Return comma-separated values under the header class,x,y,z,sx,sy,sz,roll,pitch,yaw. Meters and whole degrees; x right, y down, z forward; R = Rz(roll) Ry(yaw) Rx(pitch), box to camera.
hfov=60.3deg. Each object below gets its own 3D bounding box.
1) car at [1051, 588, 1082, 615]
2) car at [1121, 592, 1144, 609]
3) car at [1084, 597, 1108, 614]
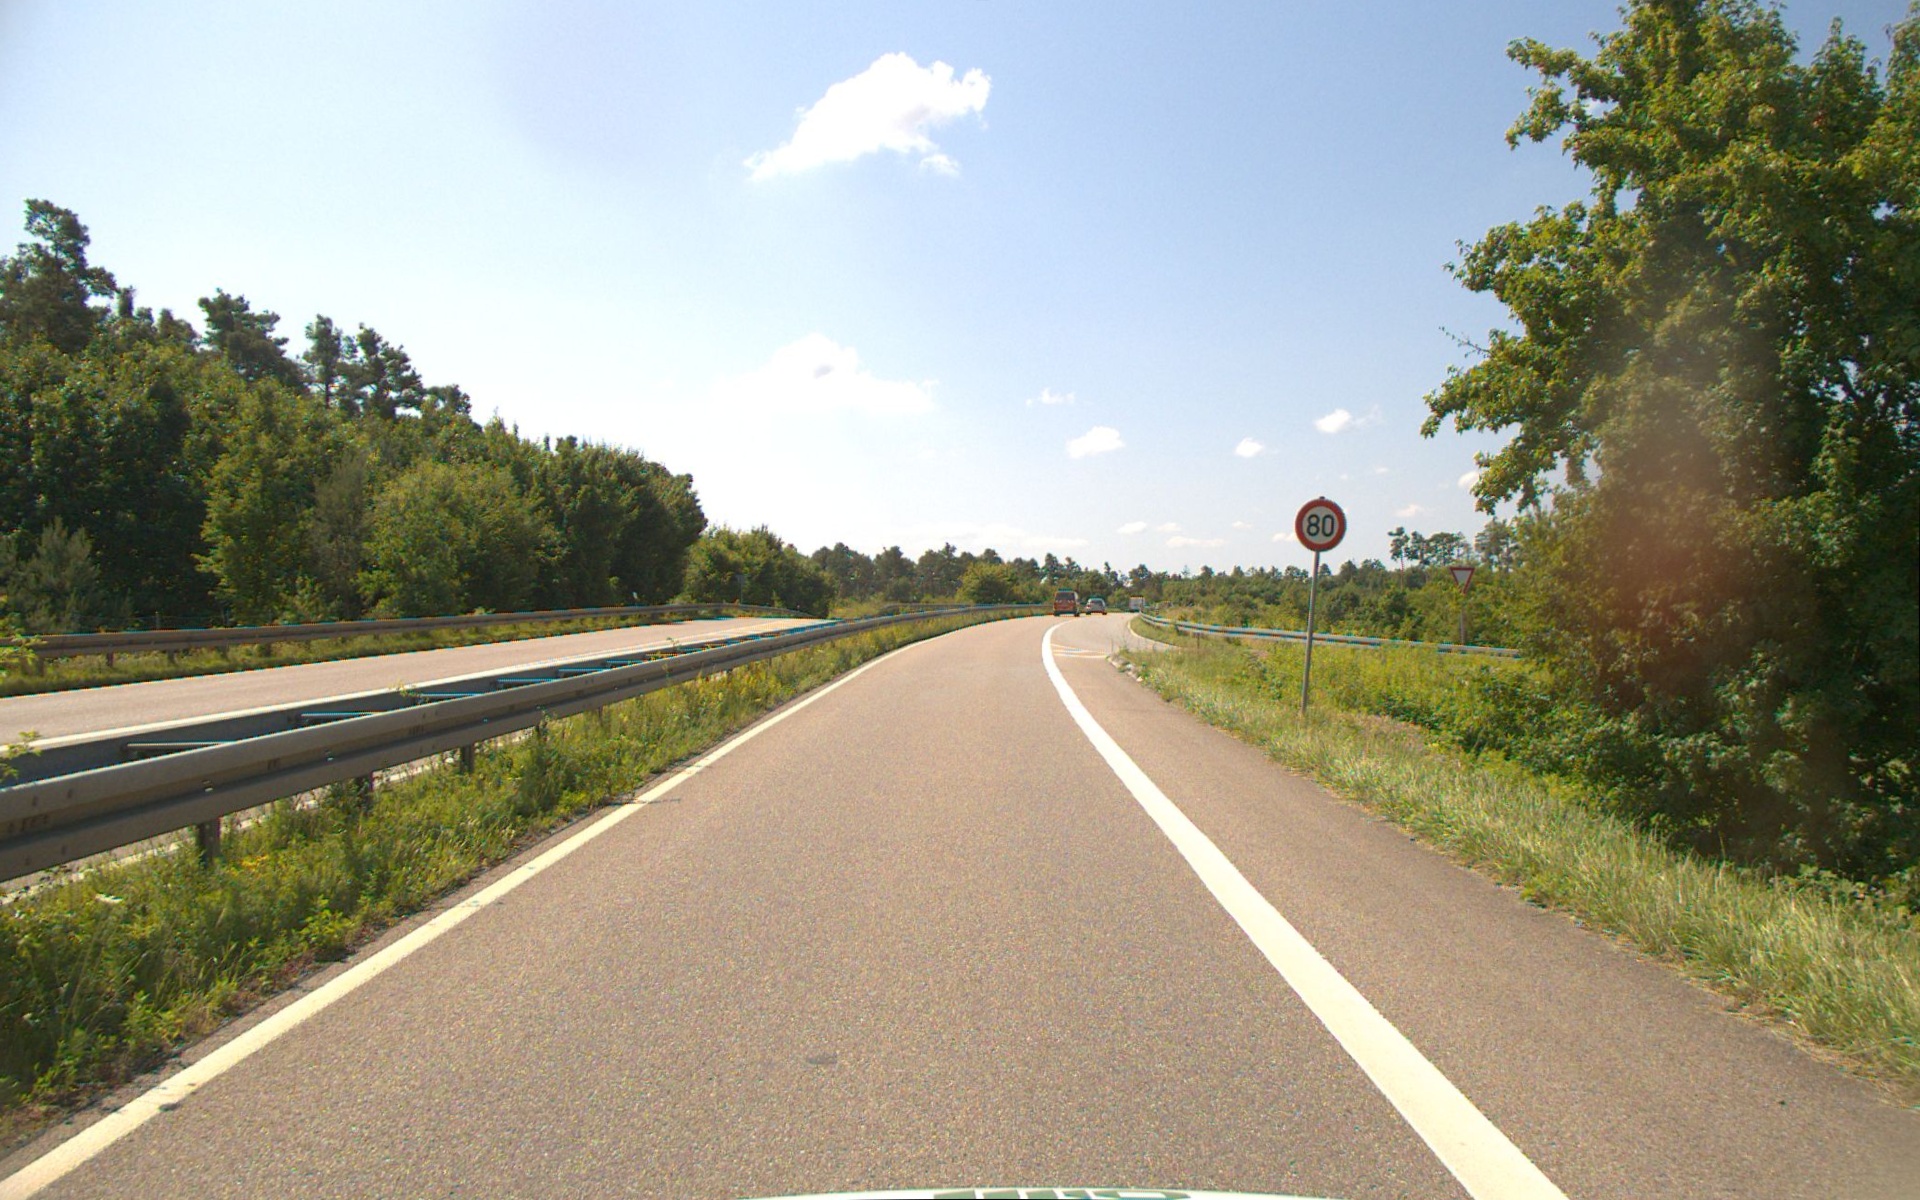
class,x,y,z,sx,sy,sz,roll,pitch,yaw
car,8.531,0.101,131.787,2.033,2.028,5.115,1,-1,8
car,21.411,0.056,204.912,2.138,1.989,5.808,1,-1,13
car,12.705,0.514,154.386,1.964,1.520,4.242,1,-1,8
